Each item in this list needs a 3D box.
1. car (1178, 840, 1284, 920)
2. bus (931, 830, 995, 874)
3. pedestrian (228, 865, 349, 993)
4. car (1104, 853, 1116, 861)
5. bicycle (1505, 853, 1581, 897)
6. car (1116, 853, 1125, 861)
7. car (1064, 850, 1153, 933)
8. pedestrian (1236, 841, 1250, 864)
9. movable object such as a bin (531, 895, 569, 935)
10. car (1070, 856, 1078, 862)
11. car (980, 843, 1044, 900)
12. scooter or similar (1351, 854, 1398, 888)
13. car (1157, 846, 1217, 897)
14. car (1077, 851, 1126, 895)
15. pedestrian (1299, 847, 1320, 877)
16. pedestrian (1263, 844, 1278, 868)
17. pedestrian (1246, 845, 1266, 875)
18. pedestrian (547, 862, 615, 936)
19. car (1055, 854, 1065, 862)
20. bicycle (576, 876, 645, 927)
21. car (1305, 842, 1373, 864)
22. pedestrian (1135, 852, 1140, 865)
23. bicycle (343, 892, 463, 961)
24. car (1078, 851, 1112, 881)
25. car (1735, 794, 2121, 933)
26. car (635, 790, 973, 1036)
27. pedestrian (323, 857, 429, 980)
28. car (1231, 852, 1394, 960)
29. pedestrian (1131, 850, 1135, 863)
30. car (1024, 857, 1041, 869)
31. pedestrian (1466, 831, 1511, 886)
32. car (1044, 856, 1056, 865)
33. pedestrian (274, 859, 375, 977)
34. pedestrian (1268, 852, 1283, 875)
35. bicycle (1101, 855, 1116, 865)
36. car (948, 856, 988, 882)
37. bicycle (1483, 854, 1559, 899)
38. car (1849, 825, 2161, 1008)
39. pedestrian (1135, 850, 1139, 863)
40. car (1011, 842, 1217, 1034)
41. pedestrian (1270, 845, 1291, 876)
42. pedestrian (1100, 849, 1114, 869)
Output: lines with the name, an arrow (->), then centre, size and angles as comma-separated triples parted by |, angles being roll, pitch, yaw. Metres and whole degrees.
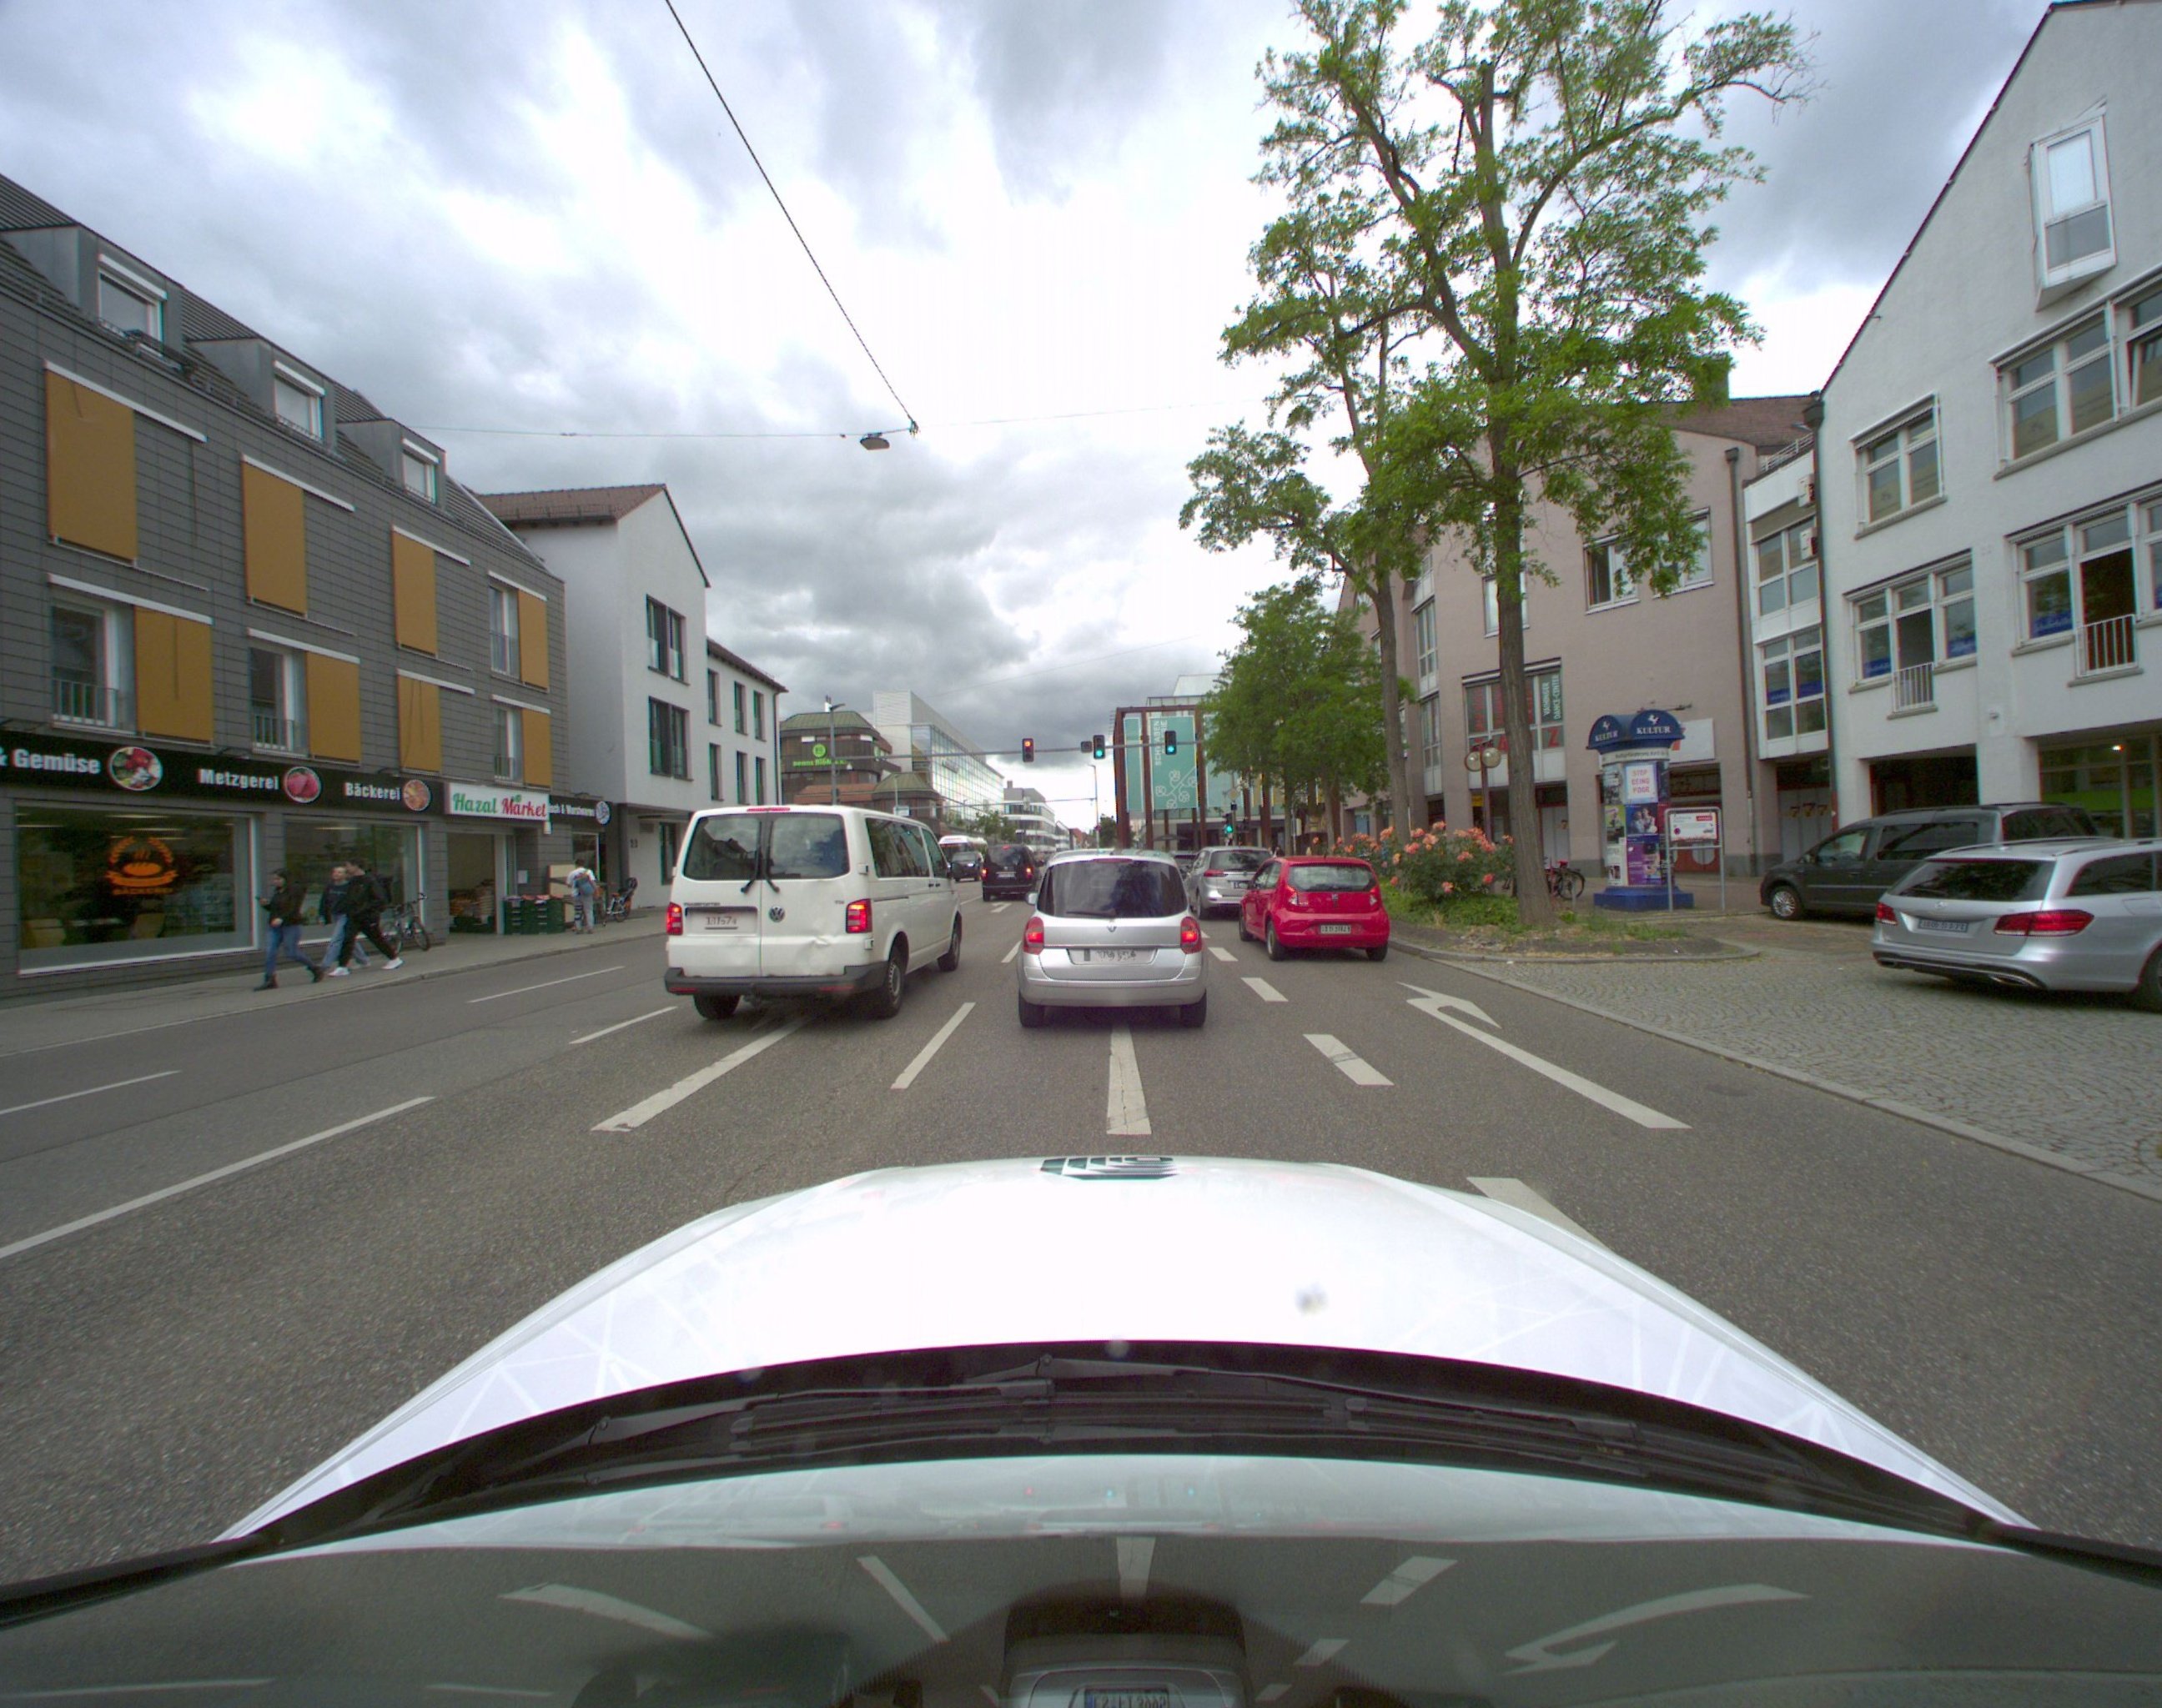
car -> 3.471, 0.540, 19.558 | 1.734, 1.701, 4.380 | 0, 0, 0
bus -> -10.237, -0.212, 72.283 | 2.975, 3.327, 12.316 | -5, 0, 3
pedestrian -> -11.190, 1.030, 11.529 | 0.800, 1.698, 0.871 | -2, 0, 3
car -> 4.682, 0.499, 132.460 | 1.870, 1.335, 4.002 | 0, 0, 2
bicycle -> 11.408, 0.528, 20.154 | 1.549, 1.048, 0.409 | -2, 0, 43
car -> 7.650, 0.587, 158.242 | 1.870, 1.564, 4.002 | 0, 0, 2
car -> 0.578, 0.702, 17.067 | 1.663, 1.554, 3.643 | 0, 0, 2
pedestrian -> 11.373, -0.108, 57.119 | 0.739, 1.626, 0.953 | -3, 0, -2
movable object such as a bin -> -12.638, 1.453, 19.398 | 0.549, 0.899, 0.507 | -2, 0, 0
car -> -1.825, 1.219, 212.022 | 1.654, 1.465, 4.002 | -3, 0, 2
car -> -2.302, 0.557, 28.204 | 1.701, 1.820, 4.573 | 0, 0, 2
scooter or similar -> 9.959, 0.577, 27.709 | 0.471, 1.087, 1.878 | -3, -1, -15
car -> 3.797, 0.593, 29.807 | 1.733, 1.701, 4.382 | 0, 0, 2
car -> 0.755, 0.647, 29.641 | 1.663, 1.495, 3.643 | 0, 0, 2
pedestrian -> 13.889, 0.473, 49.552 | 0.876, 1.767, 1.120 | -2, 0, -1
pedestrian -> 13.135, 0.147, 56.597 | 0.739, 1.626, 0.953 | -3, 0, -2
pedestrian -> 10.253, 0.334, 47.748 | 0.876, 1.681, 1.120 | -2, 0, -1
pedestrian -> -11.619, 1.039, 18.938 | 0.879, 1.643, 0.977 | -2, 0, 26
car -> -4.219, 0.787, 163.548 | 1.654, 1.465, 4.002 | -3, 0, 2
bicycle -> -12.665, 1.260, 22.007 | 0.580, 1.232, 2.119 | -2, 0, 0
car -> 18.075, -0.062, 57.168 | 4.161, 1.404, 1.800 | -1, 0, -1
pedestrian -> 5.179, 0.390, 74.594 | 0.445, 1.220, 0.607 | -2, 0, 4
bicycle -> -12.674, 1.328, 15.308 | 0.569, 1.101, 1.903 | -2, 0, 2
car -> 0.749, 0.593, 42.102 | 1.663, 1.495, 3.643 | 0, 0, 2
car -> 13.198, 0.125, 13.165 | 1.729, 1.804, 4.260 | -3, 0, -1
car -> -2.609, 0.483, 9.145 | 1.986, 2.013, 4.842 | -1, 0, 2
pedestrian -> -11.153, 0.980, 12.915 | 0.704, 1.839, 1.029 | -2, 0, 3
car -> 3.451, 0.699, 12.773 | 1.620, 1.448, 3.643 | 0, 0, 2
pedestrian -> 6.295, 0.280, 98.817 | 0.425, 1.549, 0.481 | -2, 0, 0
car -> -6.185, 1.119, 104.255 | 1.654, 1.465, 4.002 | -3, 0, 2
pedestrian -> 12.624, 0.141, 25.261 | 0.806, 1.626, 1.093 | -3, 0, -1
car -> -5.327, 1.107, 139.345 | 1.654, 1.465, 4.002 | -3, 0, 2
pedestrian -> -11.954, 0.985, 12.900 | 0.704, 1.781, 0.871 | -2, 0, 3
pedestrian -> 14.144, 0.694, 59.229 | 0.818, 1.595, 1.039 | -2, 0, 1
bicycle -> 2.986, 0.647, 88.183 | 1.553, 0.992, 0.753 | -2, 0, 4
car -> -7.039, 0.920, 50.978 | 1.752, 1.448, 4.037 | -3, 0, 2
bicycle -> 10.752, 0.555, 19.948 | 1.549, 1.048, 0.409 | -2, 0, 43
car -> 10.534, 0.471, 7.818 | 4.622, 1.453, 1.740 | -3, 0, 1
pedestrian -> 6.815, 0.277, 98.951 | 0.425, 1.549, 0.481 | -2, 0, 0
car -> 0.327, 0.679, 8.436 | 1.663, 1.554, 3.643 | 0, 0, 2
pedestrian -> 11.779, 0.362, 48.035 | 0.876, 1.767, 1.120 | -2, 0, -1
pedestrian -> 2.125, 0.419, 66.737 | 0.861, 1.646, 0.685 | -2, 0, 36
